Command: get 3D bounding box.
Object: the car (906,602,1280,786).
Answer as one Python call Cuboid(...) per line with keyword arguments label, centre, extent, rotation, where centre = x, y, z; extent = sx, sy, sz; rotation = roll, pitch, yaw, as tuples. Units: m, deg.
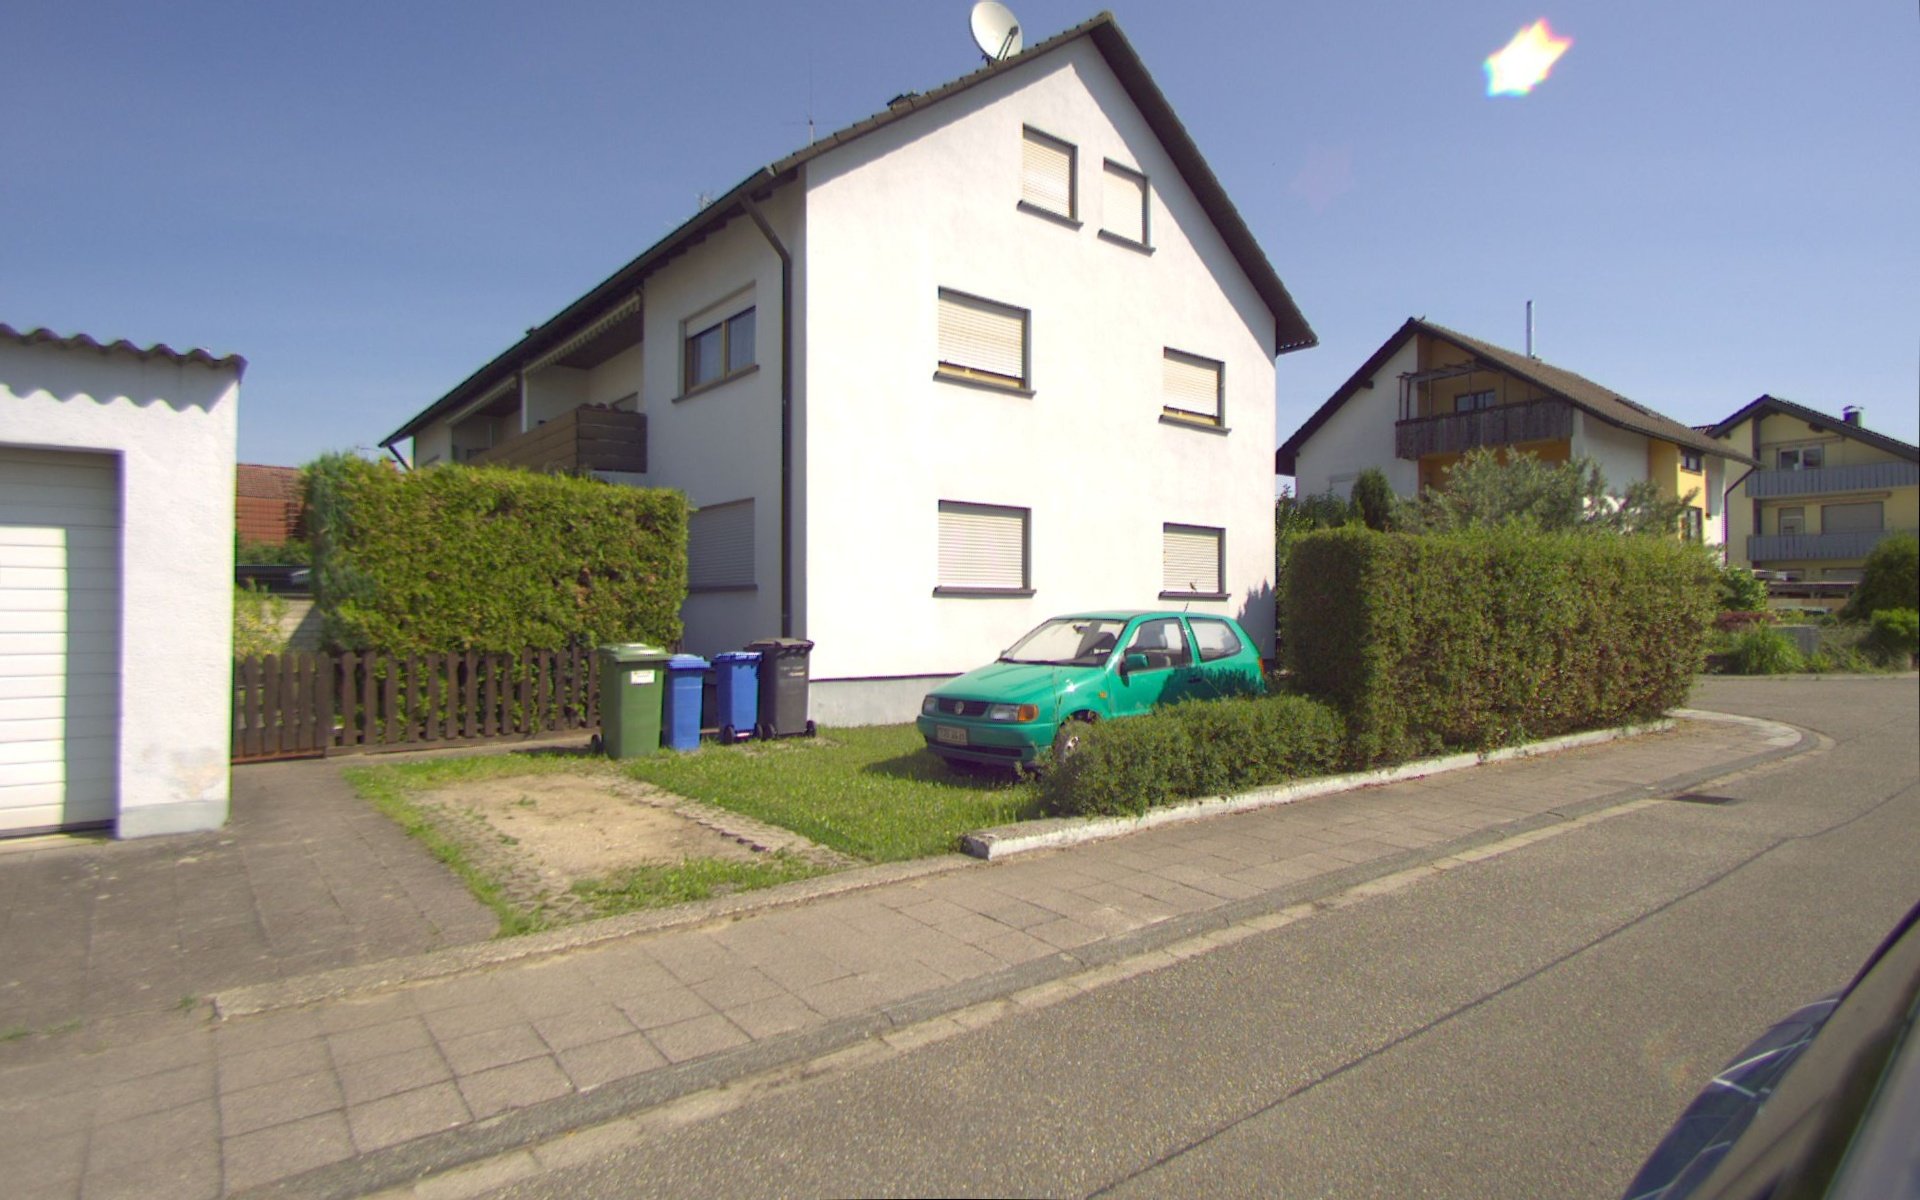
Cuboid(label="car", centre=(1.329, 0.712, 9.330), extent=(3.465, 1.376, 1.497), rotation=(0, -1, -41))
